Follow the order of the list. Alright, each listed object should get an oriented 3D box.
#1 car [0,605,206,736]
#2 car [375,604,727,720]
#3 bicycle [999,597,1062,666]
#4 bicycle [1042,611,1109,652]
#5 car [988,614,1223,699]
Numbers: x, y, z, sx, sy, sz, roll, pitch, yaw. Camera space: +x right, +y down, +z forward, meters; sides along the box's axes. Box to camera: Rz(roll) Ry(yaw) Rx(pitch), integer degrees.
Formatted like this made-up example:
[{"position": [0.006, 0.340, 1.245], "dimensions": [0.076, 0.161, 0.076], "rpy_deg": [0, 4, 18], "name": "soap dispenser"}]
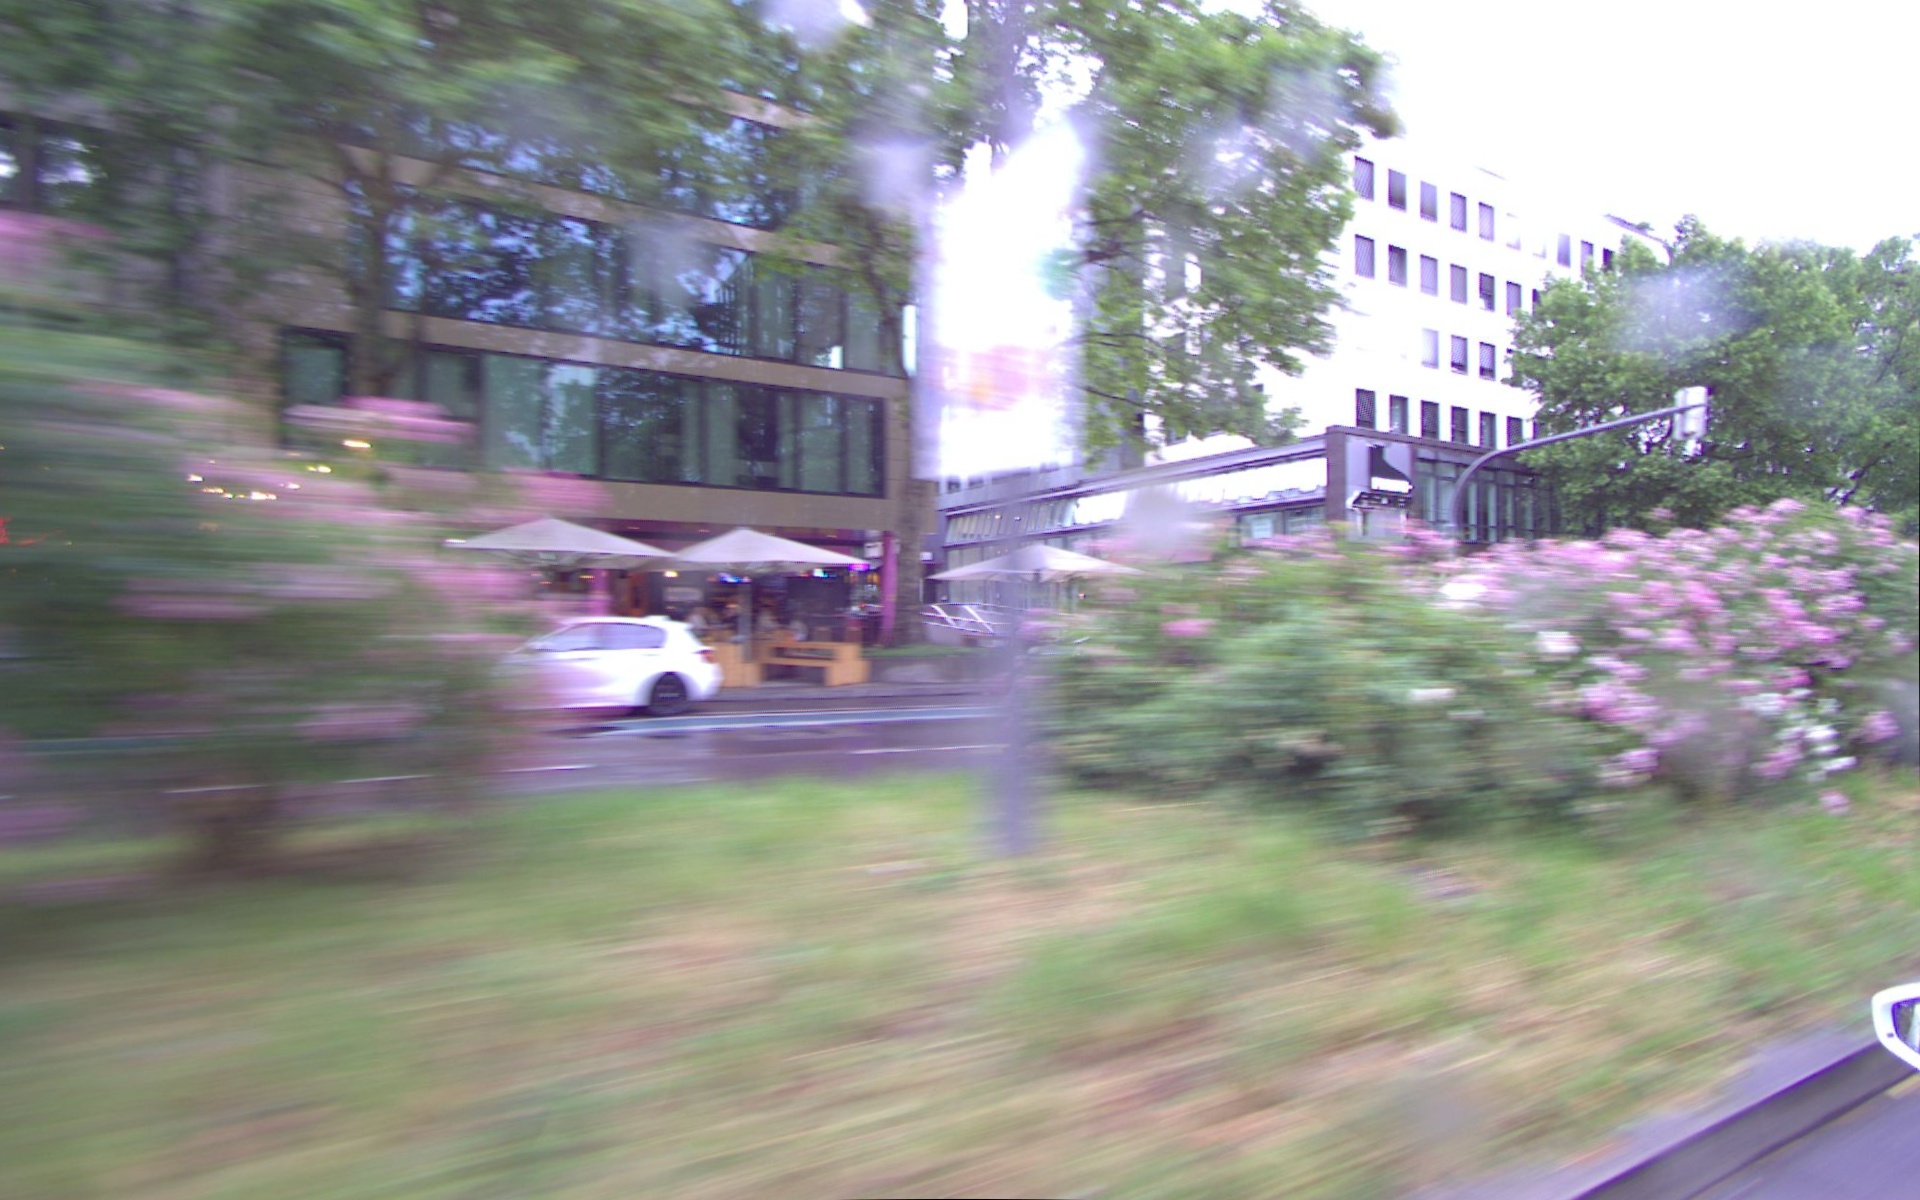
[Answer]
[{"position": [-11.414, 0.760, 11.329], "dimensions": [4.431, 1.413, 1.816], "rpy_deg": [1, -1, -30], "name": "car"}, {"position": [-5.895, 0.822, 14.619], "dimensions": [4.486, 1.388, 1.984], "rpy_deg": [1, 1, -30], "name": "car"}, {"position": [2.131, 0.937, 30.776], "dimensions": [0.682, 2.040, 2.373], "rpy_deg": [1, -1, -31], "name": "bicycle"}, {"position": [3.663, 0.978, 32.118], "dimensions": [0.683, 1.263, 2.368], "rpy_deg": [1, -1, -37], "name": "bicycle"}, {"position": [2.957, 1.075, 20.095], "dimensions": [4.469, 1.529, 1.983], "rpy_deg": [1, -1, -33], "name": "car"}]
